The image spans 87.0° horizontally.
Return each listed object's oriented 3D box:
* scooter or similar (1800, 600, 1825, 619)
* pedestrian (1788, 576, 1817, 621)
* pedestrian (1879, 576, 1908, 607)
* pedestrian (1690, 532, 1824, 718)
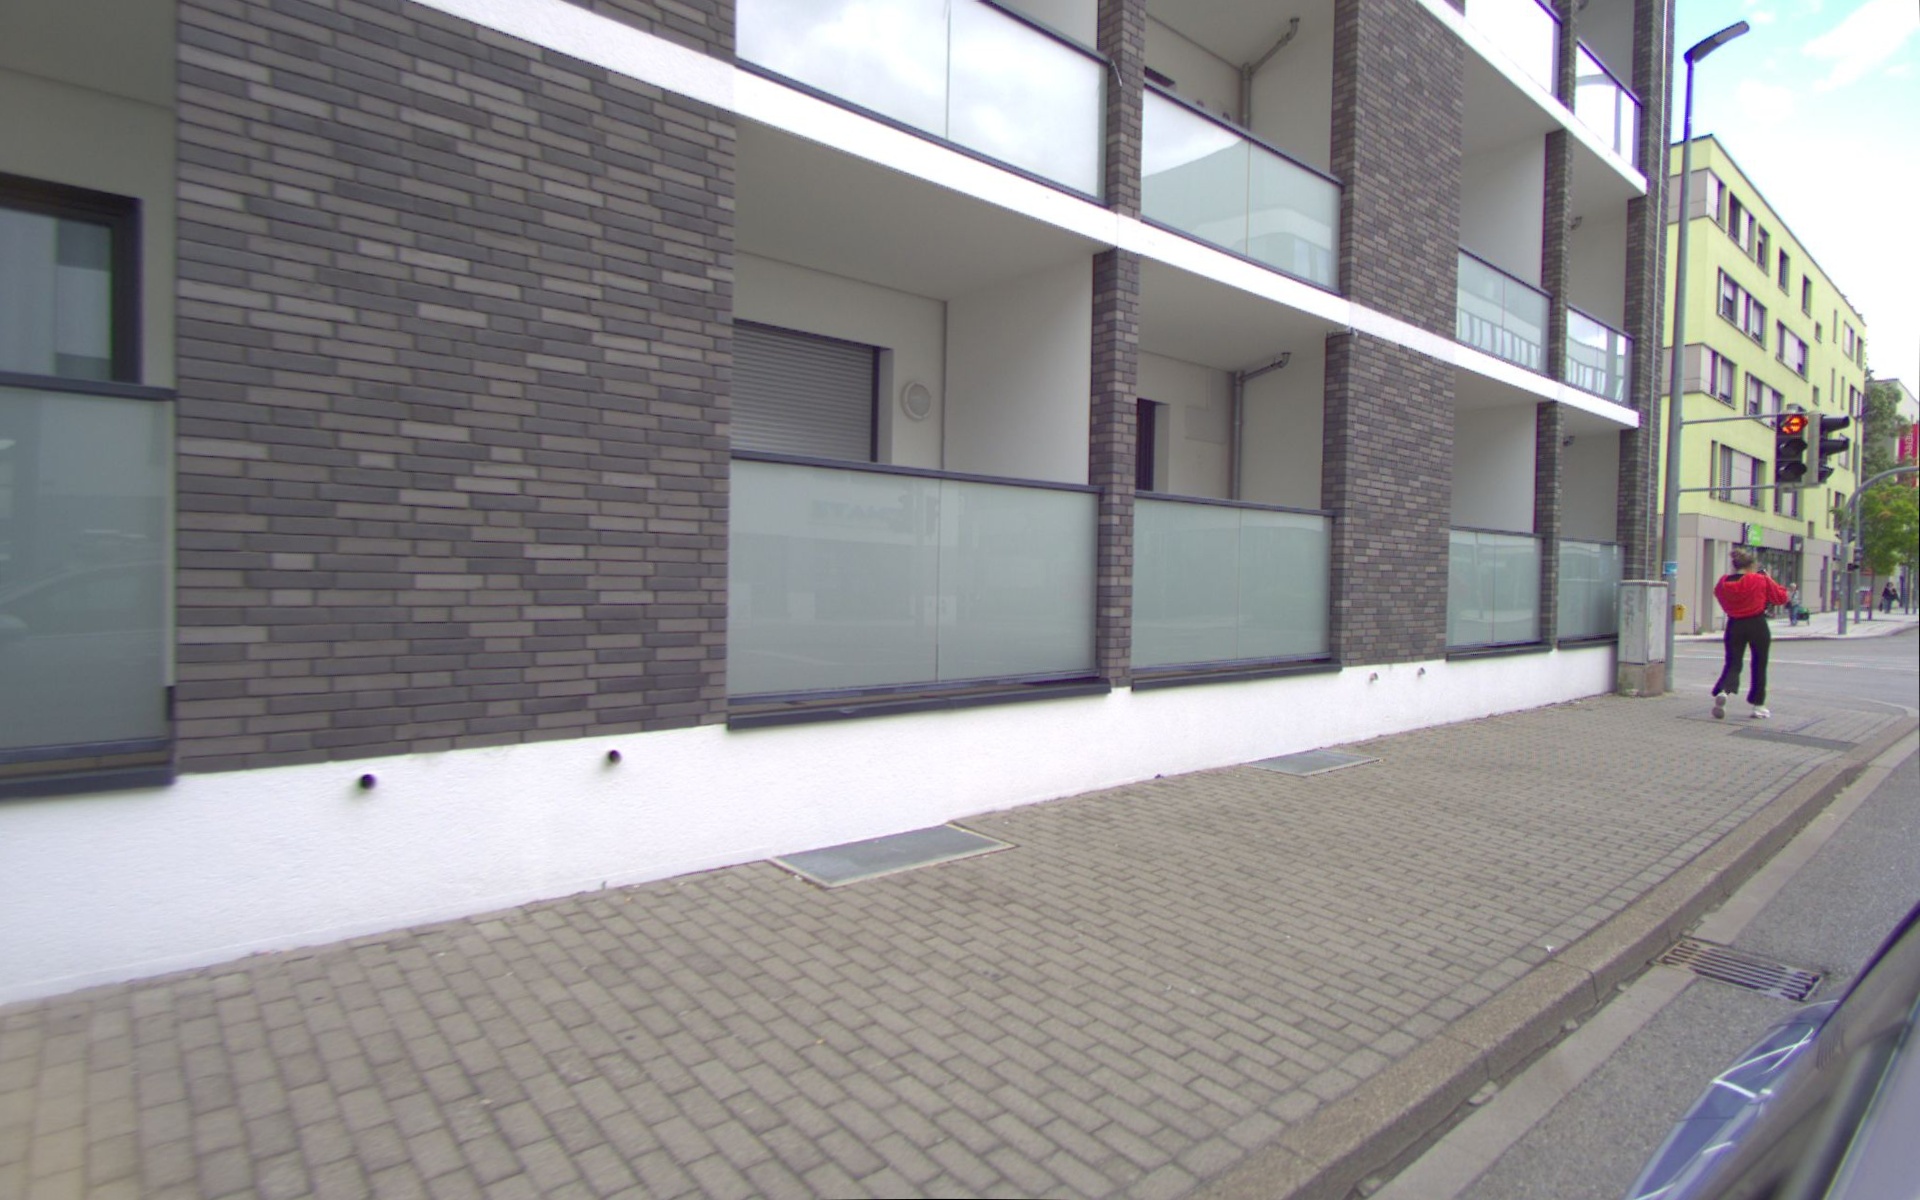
[{"bbox_3d":[32.180,0.353,38.186,0.810,0.681,0.593,0,4,-42],"label":"scooter or similar"},{"bbox_3d":[31.526,-0.059,37.869,0.593,1.613,0.697,0,3,-42],"label":"pedestrian"},{"bbox_3d":[48.651,-0.451,52.746,0.998,1.602,0.949,0,2,-42],"label":"pedestrian"},{"bbox_3d":[8.295,0.228,10.536,0.846,1.808,0.810,1,4,-41],"label":"pedestrian"}]
